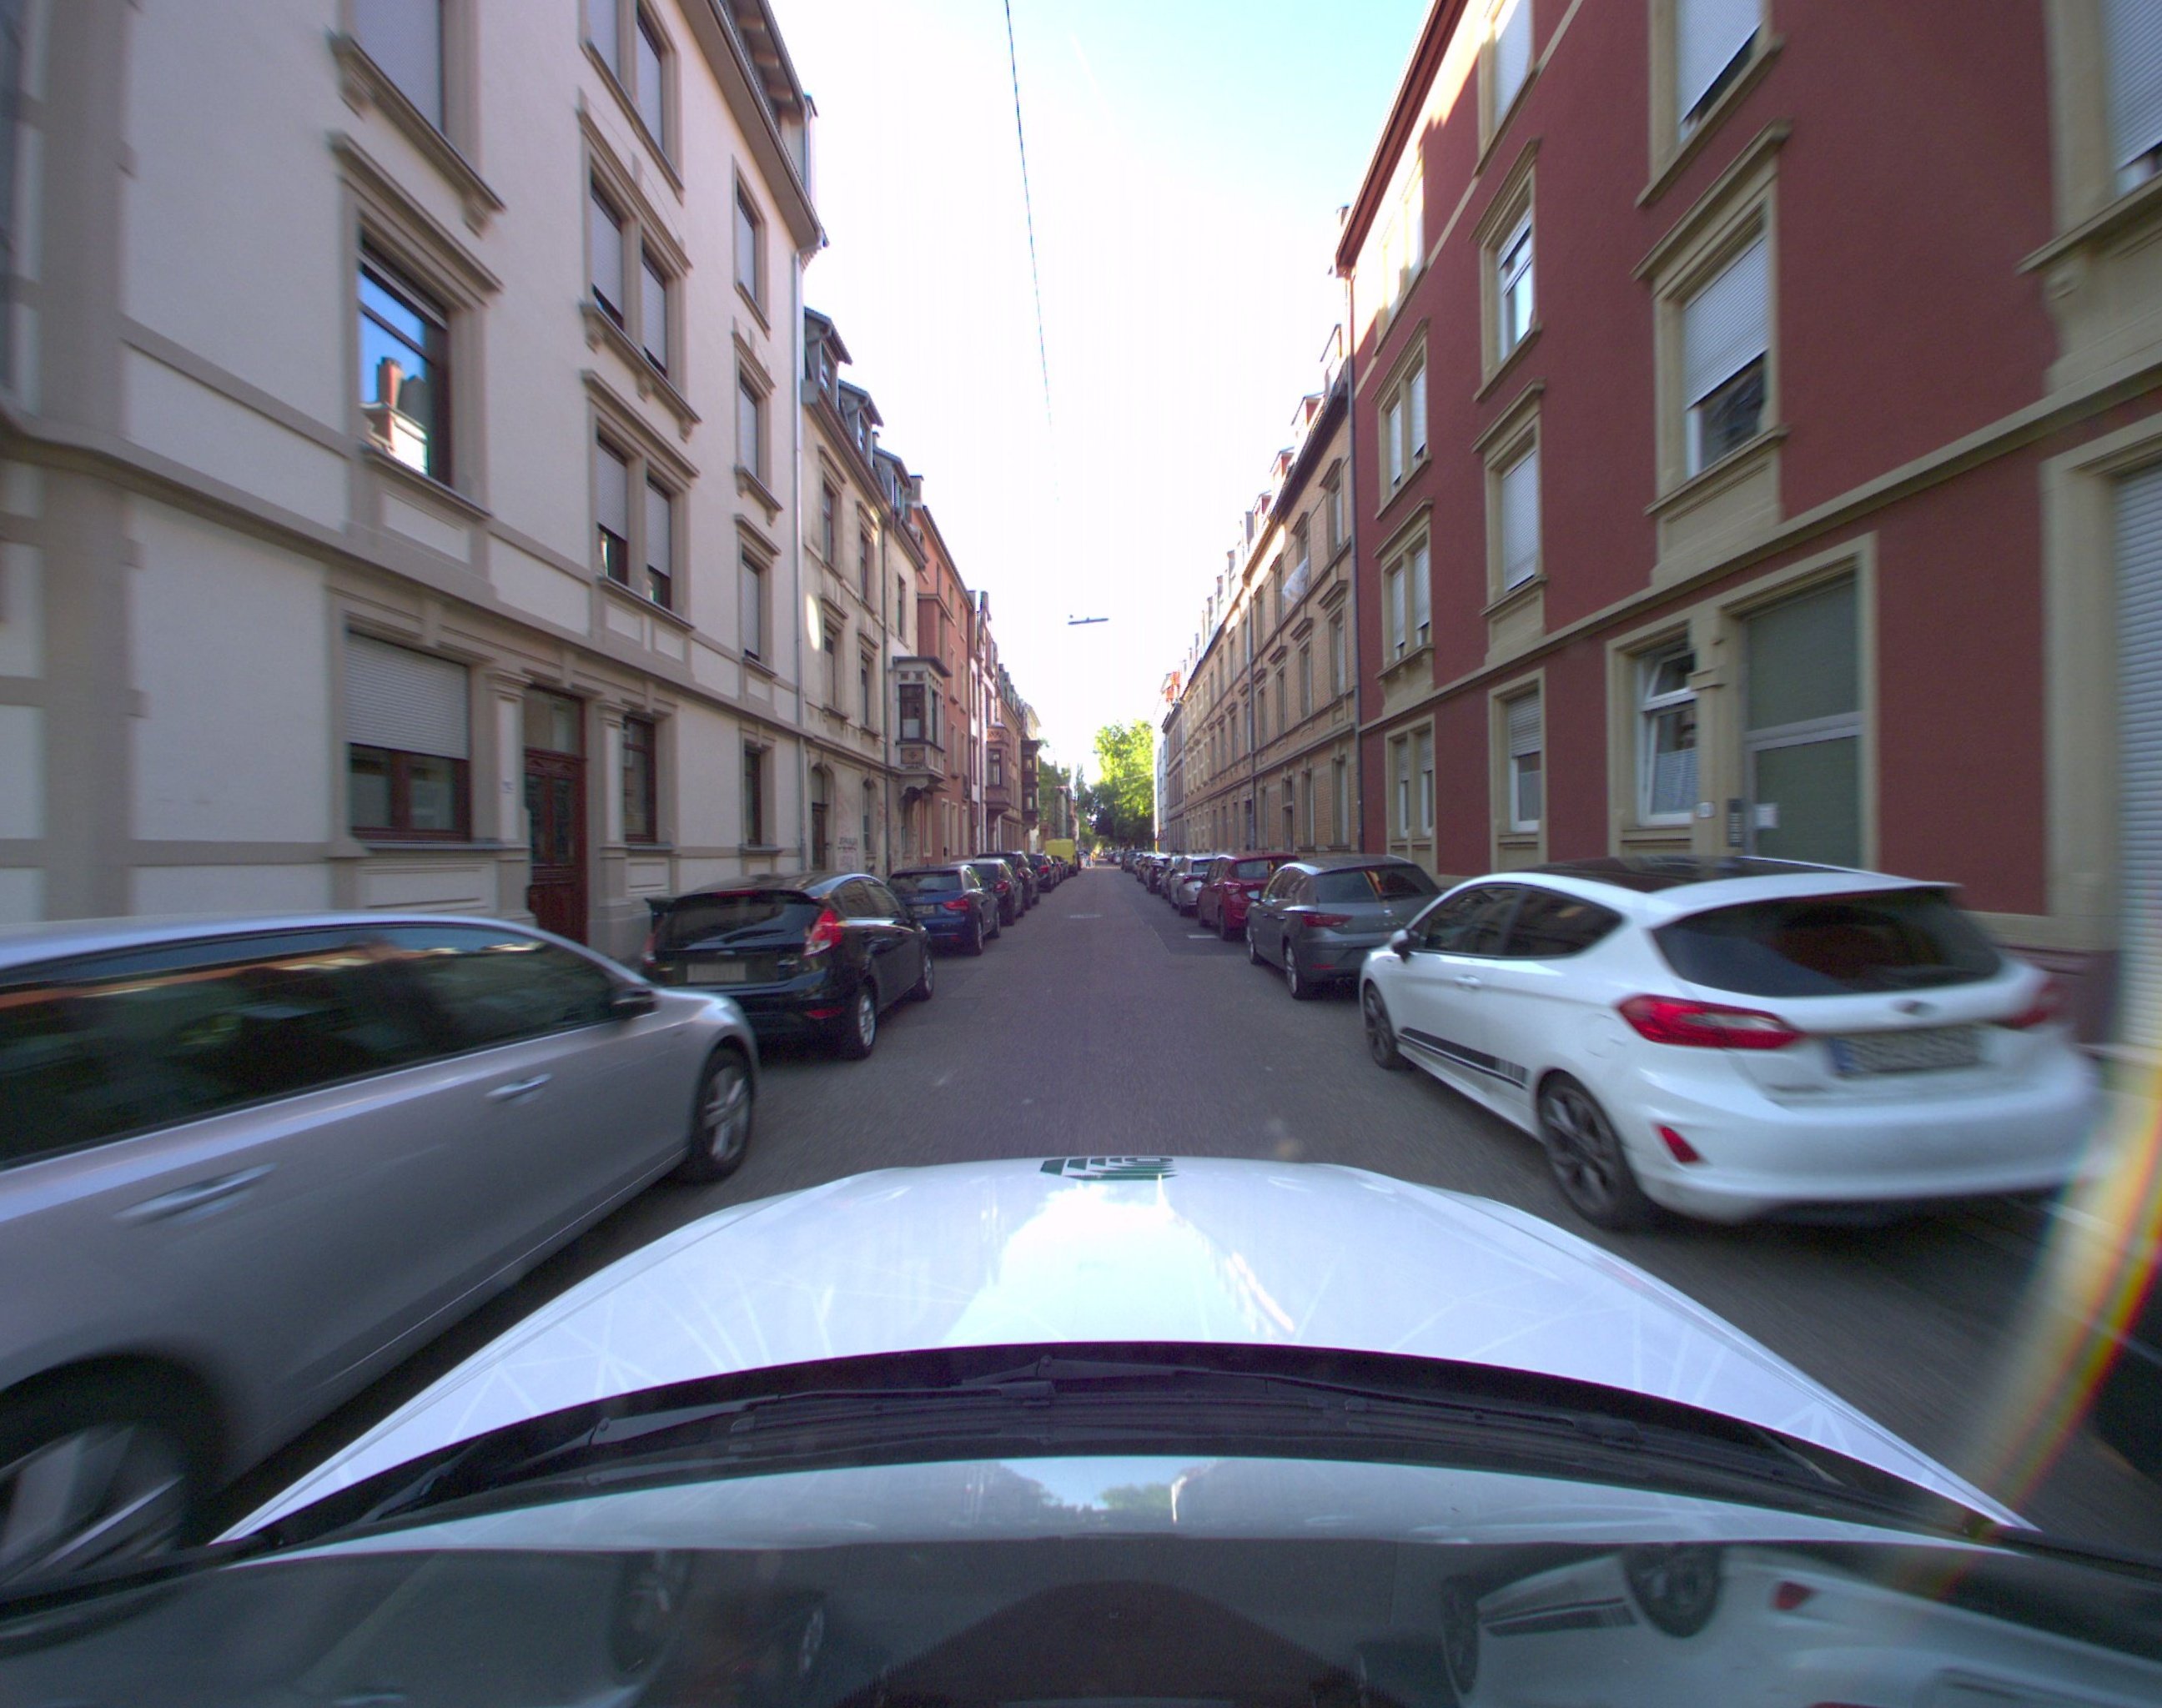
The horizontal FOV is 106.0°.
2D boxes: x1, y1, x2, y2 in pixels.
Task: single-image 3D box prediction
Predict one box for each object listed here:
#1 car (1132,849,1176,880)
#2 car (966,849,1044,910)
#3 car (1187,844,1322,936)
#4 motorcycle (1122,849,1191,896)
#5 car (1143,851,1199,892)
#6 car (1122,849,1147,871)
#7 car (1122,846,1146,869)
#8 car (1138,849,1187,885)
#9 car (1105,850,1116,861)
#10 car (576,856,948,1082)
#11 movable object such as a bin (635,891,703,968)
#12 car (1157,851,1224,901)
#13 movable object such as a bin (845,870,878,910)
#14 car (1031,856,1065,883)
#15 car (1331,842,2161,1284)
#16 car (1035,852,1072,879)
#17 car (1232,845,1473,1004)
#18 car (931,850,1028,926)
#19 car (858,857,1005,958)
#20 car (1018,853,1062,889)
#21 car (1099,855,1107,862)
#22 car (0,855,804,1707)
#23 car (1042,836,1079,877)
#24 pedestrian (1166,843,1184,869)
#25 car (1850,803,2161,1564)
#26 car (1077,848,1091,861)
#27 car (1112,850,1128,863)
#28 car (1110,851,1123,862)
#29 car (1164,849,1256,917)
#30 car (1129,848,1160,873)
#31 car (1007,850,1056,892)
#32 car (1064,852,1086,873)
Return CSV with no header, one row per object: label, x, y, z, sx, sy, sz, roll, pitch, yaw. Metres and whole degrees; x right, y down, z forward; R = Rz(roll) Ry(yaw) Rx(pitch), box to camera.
car,3.734,0.521,42.225,1.748,1.446,4.068,-4,0,-1
car,-2.137,0.675,23.954,1.754,1.617,4.191,-1,0,2
car,3.146,0.582,15.538,1.654,1.479,4.023,-1,0,-1
motorcycle,2.602,0.635,28.044,2.230,1.536,0.883,1,0,-25
car,3.393,0.611,31.339,1.771,1.397,4.319,-1,1,2
car,4.165,0.461,63.727,1.747,1.452,4.291,-5,0,3
car,4.476,0.229,69.162,1.747,1.786,4.724,-4,0,1
car,3.697,0.549,37.479,1.720,1.417,4.093,-5,0,0
car,6.275,0.327,174.916,2.154,2.255,4.525,-1,0,0
car,-2.474,0.787,7.390,1.774,1.483,3.744,-1,0,2
movable object such as a bin,-5.402,0.985,10.707,0.619,0.956,0.511,0,0,1
car,3.366,0.622,25.673,1.685,1.406,3.994,-1,0,2
movable object such as a bin,-5.393,0.877,20.038,0.610,0.920,0.734,-1,0,1
car,-1.757,0.823,44.490,1.612,1.326,3.612,-4,0,0
car,2.876,0.693,4.721,1.699,1.462,3.971,-1,0,1
car,-1.623,0.670,49.110,1.711,1.412,3.902,-6,0,4
car,2.988,0.657,9.873,1.670,1.503,4.071,-1,1,2
car,-2.231,0.698,18.768,1.637,1.455,3.839,-3,0,0
car,-2.346,0.787,13.738,1.775,1.403,3.742,-1,0,0
car,-1.910,0.767,38.848,1.688,1.474,3.920,-4,0,1
car,5.790,1.127,212.519,1.987,1.728,4.001,-1,0,1
car,-2.628,0.774,2.798,1.773,1.483,3.936,-1,0,3
car,-1.316,0.141,55.783,2.168,2.507,5.879,-3,0,1
pedestrian,6.155,0.131,53.427,0.659,1.630,0.870,-2,-1,-41
car,2.921,0.636,0.367,1.663,1.483,3.706,-1,0,0
car,0.552,0.111,147.490,2.300,2.114,5.172,-1,0,2
car,4.971,0.329,103.268,1.719,1.522,3.998,-1,0,-1
car,5.443,0.344,124.553,1.888,1.625,4.000,-1,0,0
car,3.135,0.645,20.608,1.755,1.484,4.403,-1,0,2
car,4.500,0.435,57.834,1.748,1.518,4.443,-5,0,0
car,-1.979,0.640,33.671,1.775,1.606,4.069,-1,0,0
car,-0.578,0.710,70.561,1.814,1.766,4.332,-1,0,-2
